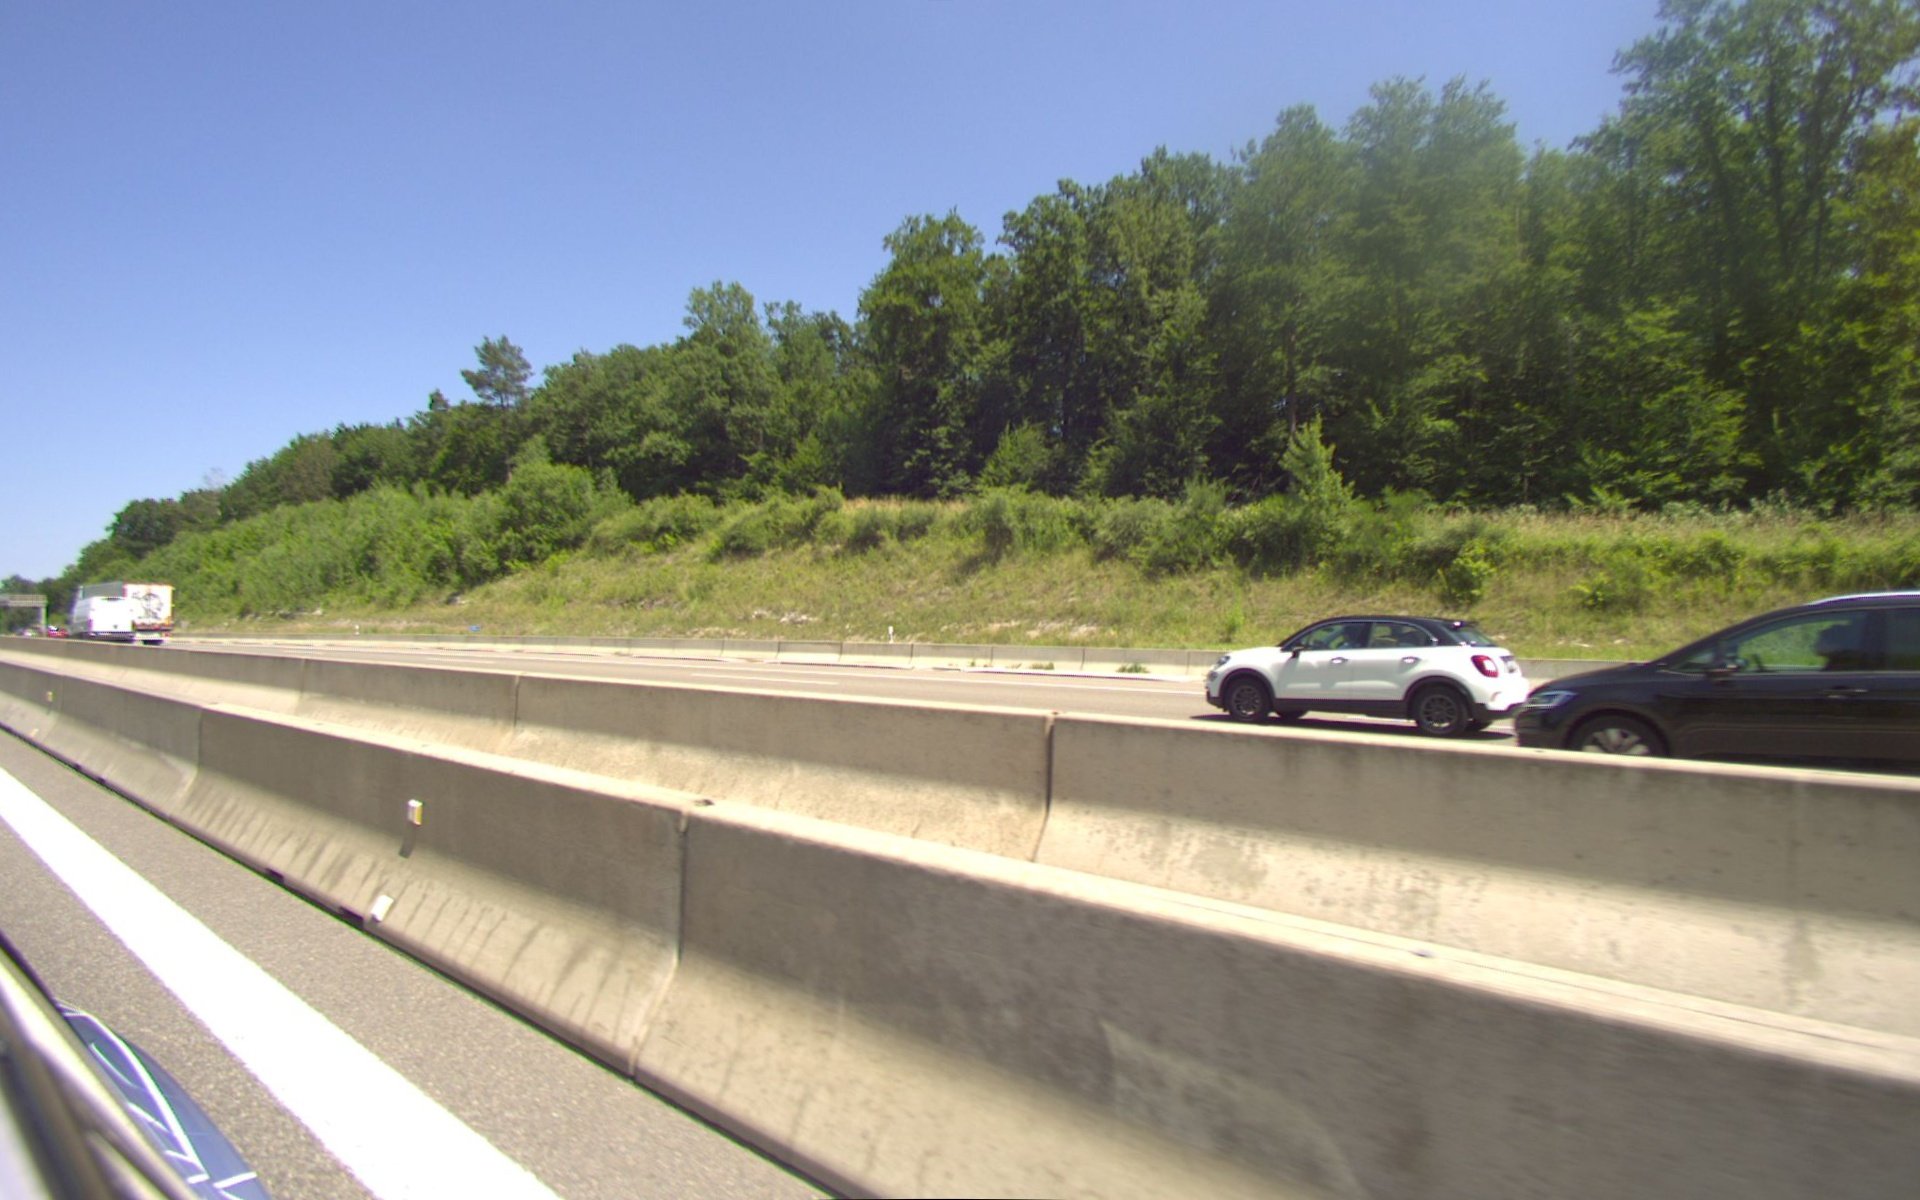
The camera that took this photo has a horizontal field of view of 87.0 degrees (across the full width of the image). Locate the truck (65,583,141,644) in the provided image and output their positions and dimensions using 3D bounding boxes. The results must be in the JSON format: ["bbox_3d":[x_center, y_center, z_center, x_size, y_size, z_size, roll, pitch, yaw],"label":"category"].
[{"bbox_3d":[-60.769,0.981,71.682,7.784,4.100,2.865,-1,-1,41],"label":"truck"}]

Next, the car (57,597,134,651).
[{"bbox_3d":[-47.428,1.320,55.447,7.598,2.821,2.063,-1,-3,41],"label":"car"}]

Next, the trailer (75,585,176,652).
[{"bbox_3d":[-55.556,1.251,67.166,13.831,4.115,2.895,-1,-2,41],"label":"trailer"}]

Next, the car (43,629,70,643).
[{"bbox_3d":[-103.388,4.144,115.785,3.717,1.512,1.851,-2,-2,41],"label":"car"}]

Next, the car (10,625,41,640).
[{"bbox_3d":[-89.987,3.110,97.447,4.437,1.418,1.650,-2,-2,41],"label":"car"}]

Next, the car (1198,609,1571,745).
[{"bbox_3d":[5.688,0.961,13.912,4.421,1.574,1.726,-1,-3,42],"label":"car"}]

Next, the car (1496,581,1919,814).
[{"bbox_3d":[6.868,0.667,7.626,4.727,1.560,1.782,-1,-1,42],"label":"car"}]
